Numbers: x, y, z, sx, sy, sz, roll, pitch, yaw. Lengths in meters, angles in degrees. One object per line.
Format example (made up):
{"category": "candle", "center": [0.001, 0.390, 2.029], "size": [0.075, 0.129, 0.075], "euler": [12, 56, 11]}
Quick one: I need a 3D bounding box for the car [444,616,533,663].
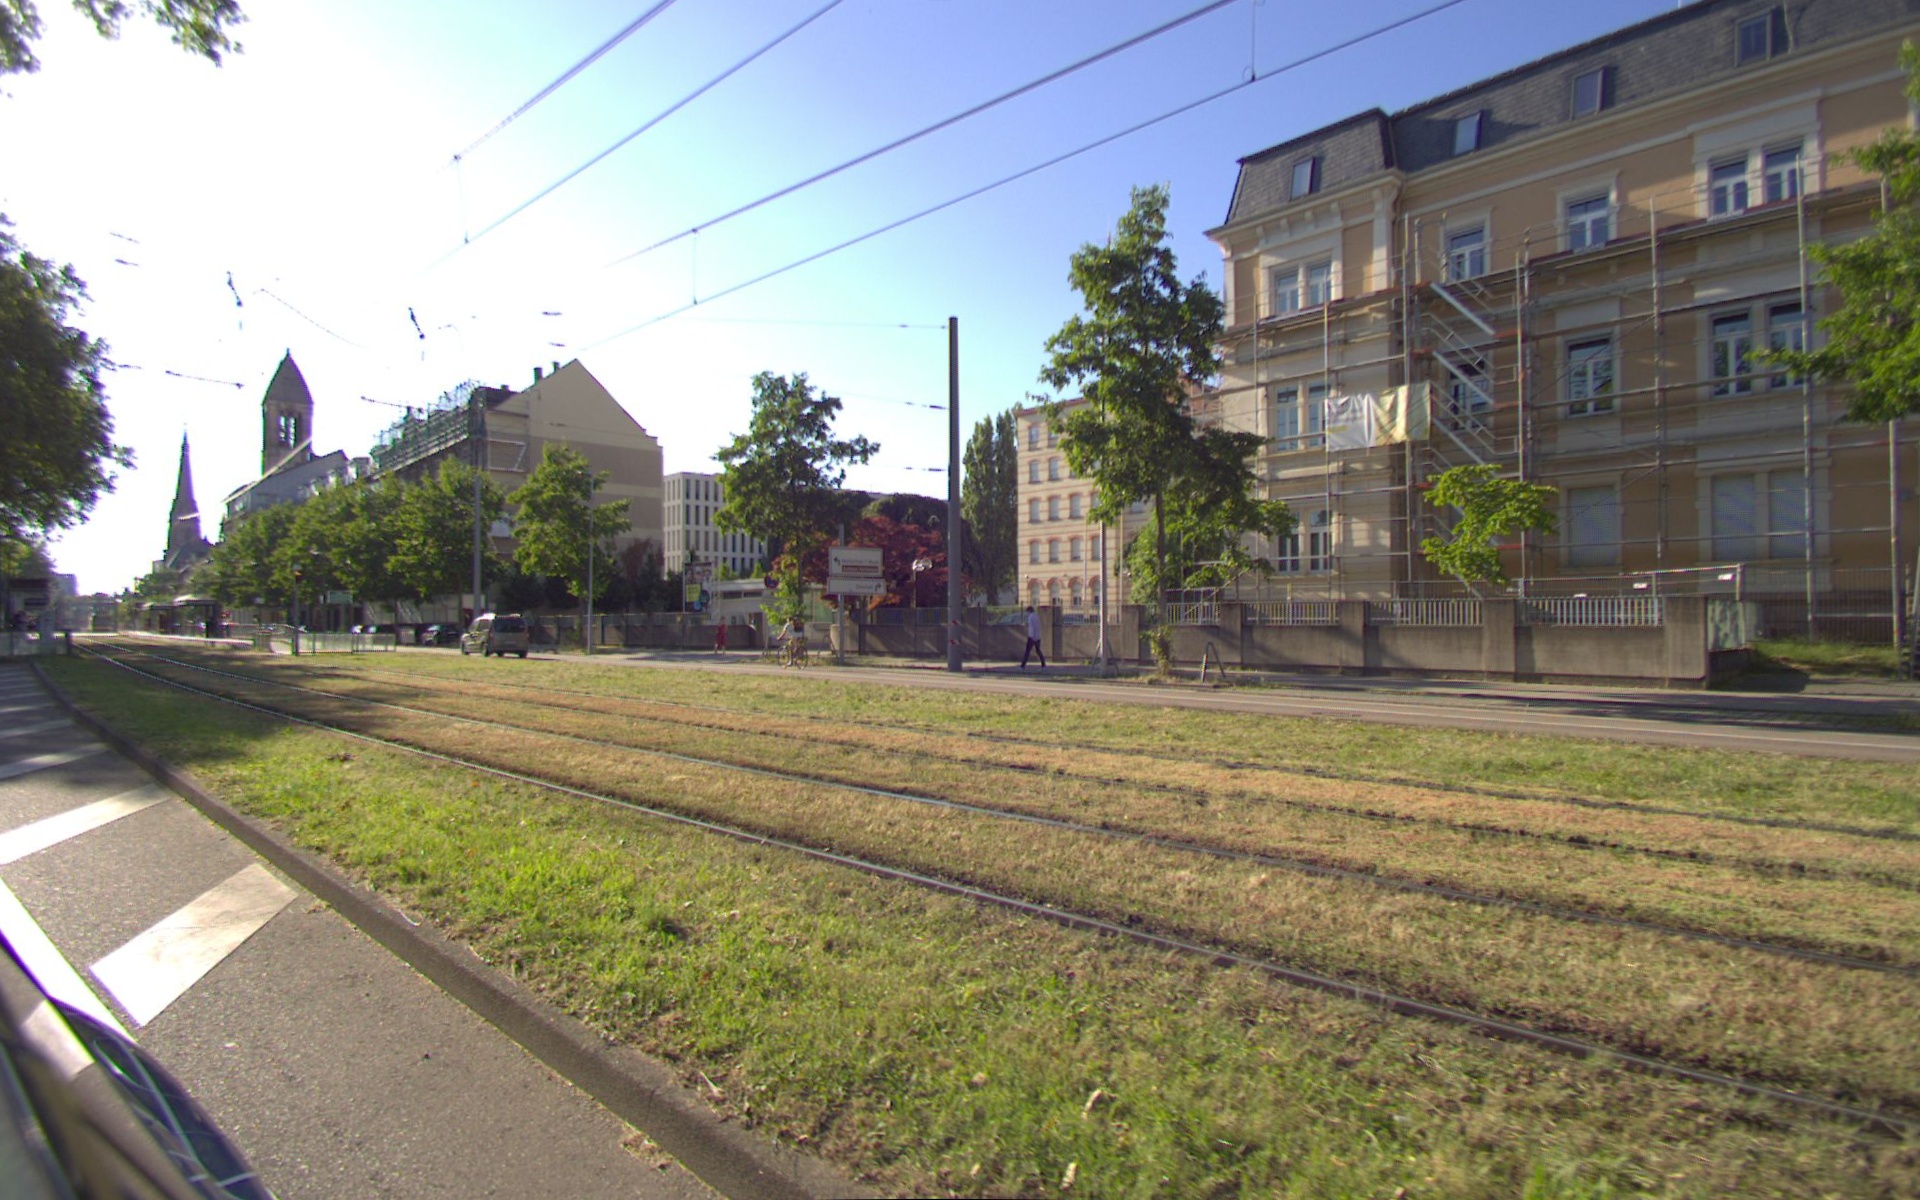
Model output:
{"category": "car", "center": [-20.522, 1.708, 43.958], "size": [4.473, 1.933, 1.917], "euler": [-1, -3, 43]}

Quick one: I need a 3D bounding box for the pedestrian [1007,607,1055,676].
{"category": "pedestrian", "center": [2.065, 1.193, 29.304], "size": [0.848, 1.942, 1.087], "euler": [3, -3, -44]}

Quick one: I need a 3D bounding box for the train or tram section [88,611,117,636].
{"category": "train or tram section", "center": [-132.751, 3.688, 156.526], "size": [2.835, 3.714, 14.576], "euler": [1, -2, -42]}

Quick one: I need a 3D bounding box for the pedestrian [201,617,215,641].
{"category": "pedestrian", "center": [-53.129, 2.052, 71.507], "size": [0.671, 1.703, 0.655], "euler": [-1, 0, -45]}

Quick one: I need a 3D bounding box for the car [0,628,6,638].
{"category": "car", "center": [-146.605, 4.967, 154.320], "size": [1.613, 1.511, 4.004], "euler": [4, -4, -43]}

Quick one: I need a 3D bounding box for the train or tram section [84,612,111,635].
{"category": "train or tram section", "center": [-142.587, 3.946, 167.292], "size": [2.835, 3.703, 14.576], "euler": [1, -2, -42]}

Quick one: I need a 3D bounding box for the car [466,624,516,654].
{"category": "car", "center": [-27.451, 2.256, 59.216], "size": [1.699, 1.598, 4.072], "euler": [-2, 0, -39]}

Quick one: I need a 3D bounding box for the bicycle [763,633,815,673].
{"category": "bicycle", "center": [-5.437, 1.670, 32.154], "size": [0.765, 1.202, 1.757], "euler": [-2, 0, -43]}

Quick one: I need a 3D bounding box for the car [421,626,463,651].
{"category": "car", "center": [-34.636, 2.544, 67.596], "size": [1.699, 1.598, 4.072], "euler": [-2, 0, -39]}

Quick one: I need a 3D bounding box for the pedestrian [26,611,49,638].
{"category": "pedestrian", "center": [-60.864, 1.586, 66.797], "size": [0.625, 1.735, 0.906], "euler": [-2, 0, 14]}

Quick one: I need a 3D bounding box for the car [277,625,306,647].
{"category": "car", "center": [-68.800, 3.709, 104.141], "size": [1.917, 2.183, 3.789], "euler": [-2, 0, -43]}

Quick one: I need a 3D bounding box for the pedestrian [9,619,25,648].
{"category": "pedestrian", "center": [-56.346, 1.975, 60.473], "size": [0.671, 1.703, 0.895], "euler": [-1, 0, -43]}

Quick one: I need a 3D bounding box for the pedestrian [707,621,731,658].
{"category": "pedestrian", "center": [-10.871, 1.767, 45.645], "size": [0.812, 1.660, 0.716], "euler": [-1, -3, 41]}

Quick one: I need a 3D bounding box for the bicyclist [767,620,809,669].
{"category": "bicyclist", "center": [-5.480, 1.414, 32.193], "size": [0.765, 1.492, 1.135], "euler": [-1, 0, -43]}

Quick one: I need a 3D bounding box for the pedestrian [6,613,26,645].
{"category": "pedestrian", "center": [-51.353, 1.573, 55.054], "size": [0.748, 1.703, 0.679], "euler": [-1, 0, -43]}

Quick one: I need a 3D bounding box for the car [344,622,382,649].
{"category": "car", "center": [-48.739, 2.892, 82.575], "size": [1.969, 2.029, 4.006], "euler": [-2, 0, -41]}
